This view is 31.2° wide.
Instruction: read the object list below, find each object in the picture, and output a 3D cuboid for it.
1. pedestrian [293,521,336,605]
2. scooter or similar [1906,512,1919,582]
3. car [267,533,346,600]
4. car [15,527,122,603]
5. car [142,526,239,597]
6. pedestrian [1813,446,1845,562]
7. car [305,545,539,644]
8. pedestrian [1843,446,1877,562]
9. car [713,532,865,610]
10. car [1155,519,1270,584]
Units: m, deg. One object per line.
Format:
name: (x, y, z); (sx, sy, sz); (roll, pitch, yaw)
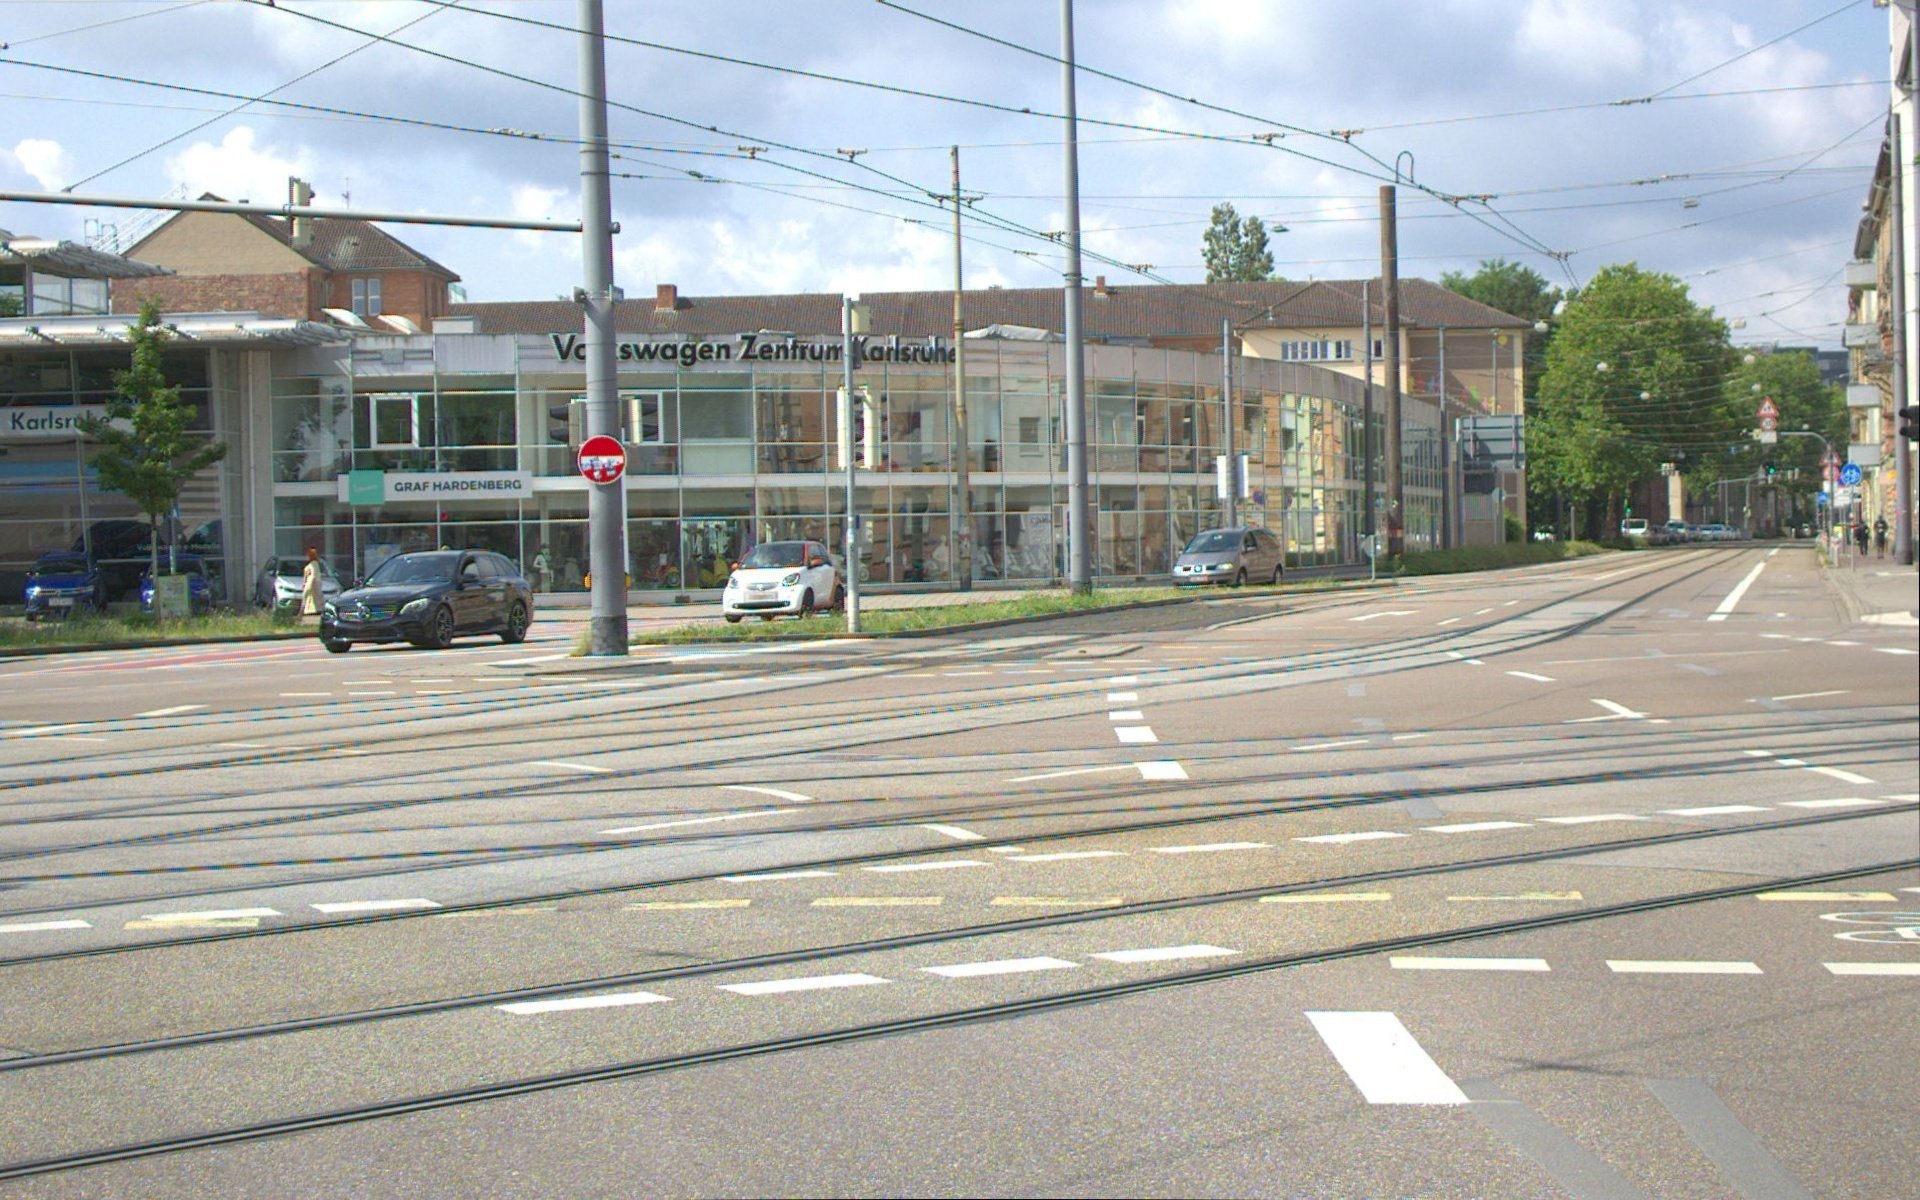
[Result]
pedestrian: (-15.526, -0.888, 82.683); (0.807, 2.007, 0.808); (-1, 1, 3)
scooter or similar: (19.596, -1.041, 68.316); (1.177, 1.381, 2.803); (1, 0, 8)
car: (-16.776, -0.853, 88.303); (1.928, 1.678, 4.001); (1, 0, -10)
car: (-22.495, -0.874, 86.880); (1.993, 1.831, 4.001); (-2, 0, -6)
car: (-19.303, -0.946, 86.411); (1.993, 1.720, 4.001); (1, 0, -7)
pedestrian: (23.375, -2.580, 92.456); (0.667, 3.110, 0.887); (1, 0, 23)
car: (-7.965, -0.102, 51.236); (1.866, 1.371, 3.937); (-1, 1, 18)
pedestrian: (24.119, -2.570, 92.088); (0.725, 3.065, 0.887); (1, 0, 23)
car: (-3.304, -0.553, 67.014); (1.687, 1.465, 3.653); (1, 0, 19)
car: (6.440, -1.238, 87.339); (1.995, 1.568, 3.733); (-1, 1, 19)
